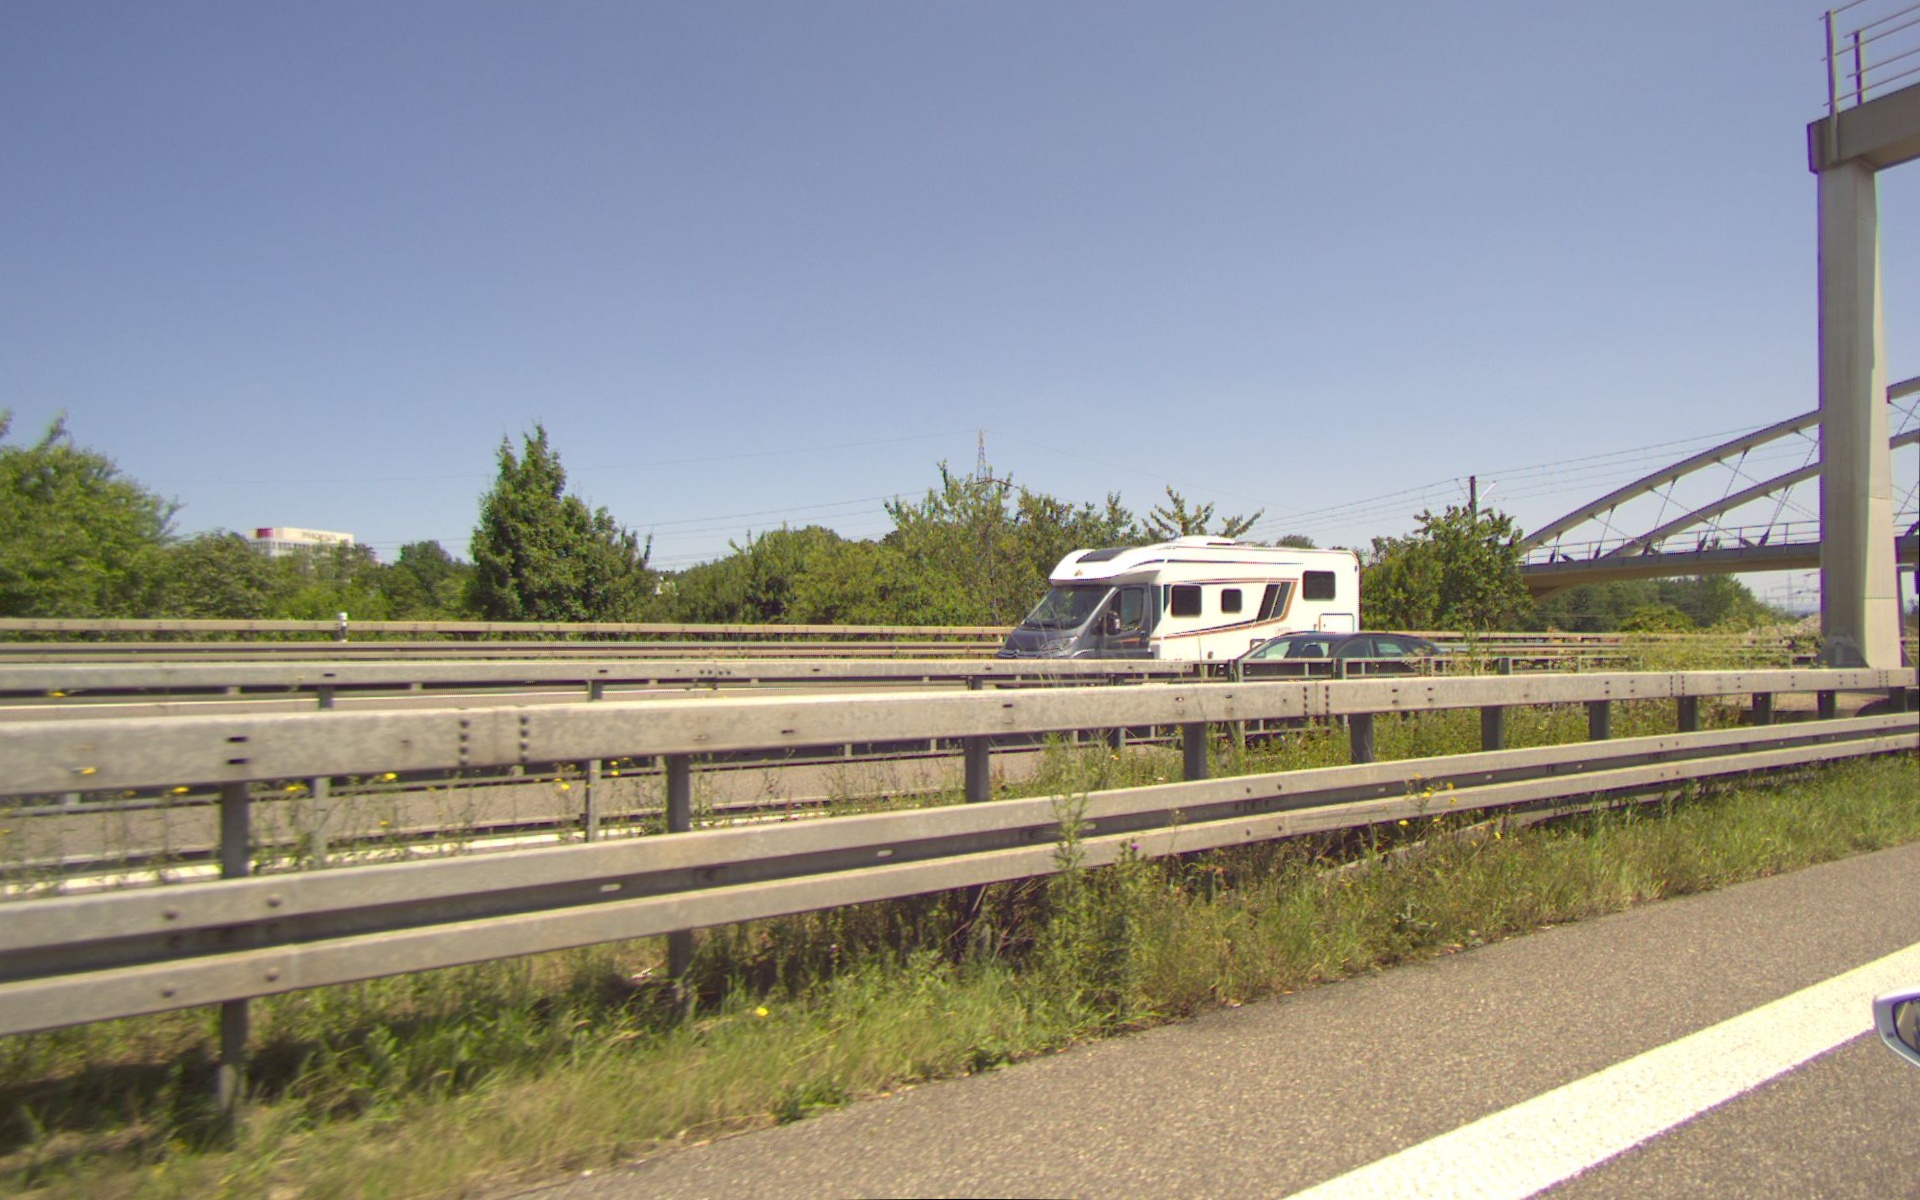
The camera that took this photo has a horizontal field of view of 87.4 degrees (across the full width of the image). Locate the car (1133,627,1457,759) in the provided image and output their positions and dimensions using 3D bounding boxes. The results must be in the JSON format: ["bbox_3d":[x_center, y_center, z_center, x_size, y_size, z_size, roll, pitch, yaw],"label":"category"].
[{"bbox_3d":[4.377,1.098,12.939,4.214,1.434,1.590,1,-1,-30],"label":"car"}]

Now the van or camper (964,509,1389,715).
[{"bbox_3d":[4.156,0.271,18.341,8.026,3.128,2.433,1,-1,-30],"label":"van or camper"}]
